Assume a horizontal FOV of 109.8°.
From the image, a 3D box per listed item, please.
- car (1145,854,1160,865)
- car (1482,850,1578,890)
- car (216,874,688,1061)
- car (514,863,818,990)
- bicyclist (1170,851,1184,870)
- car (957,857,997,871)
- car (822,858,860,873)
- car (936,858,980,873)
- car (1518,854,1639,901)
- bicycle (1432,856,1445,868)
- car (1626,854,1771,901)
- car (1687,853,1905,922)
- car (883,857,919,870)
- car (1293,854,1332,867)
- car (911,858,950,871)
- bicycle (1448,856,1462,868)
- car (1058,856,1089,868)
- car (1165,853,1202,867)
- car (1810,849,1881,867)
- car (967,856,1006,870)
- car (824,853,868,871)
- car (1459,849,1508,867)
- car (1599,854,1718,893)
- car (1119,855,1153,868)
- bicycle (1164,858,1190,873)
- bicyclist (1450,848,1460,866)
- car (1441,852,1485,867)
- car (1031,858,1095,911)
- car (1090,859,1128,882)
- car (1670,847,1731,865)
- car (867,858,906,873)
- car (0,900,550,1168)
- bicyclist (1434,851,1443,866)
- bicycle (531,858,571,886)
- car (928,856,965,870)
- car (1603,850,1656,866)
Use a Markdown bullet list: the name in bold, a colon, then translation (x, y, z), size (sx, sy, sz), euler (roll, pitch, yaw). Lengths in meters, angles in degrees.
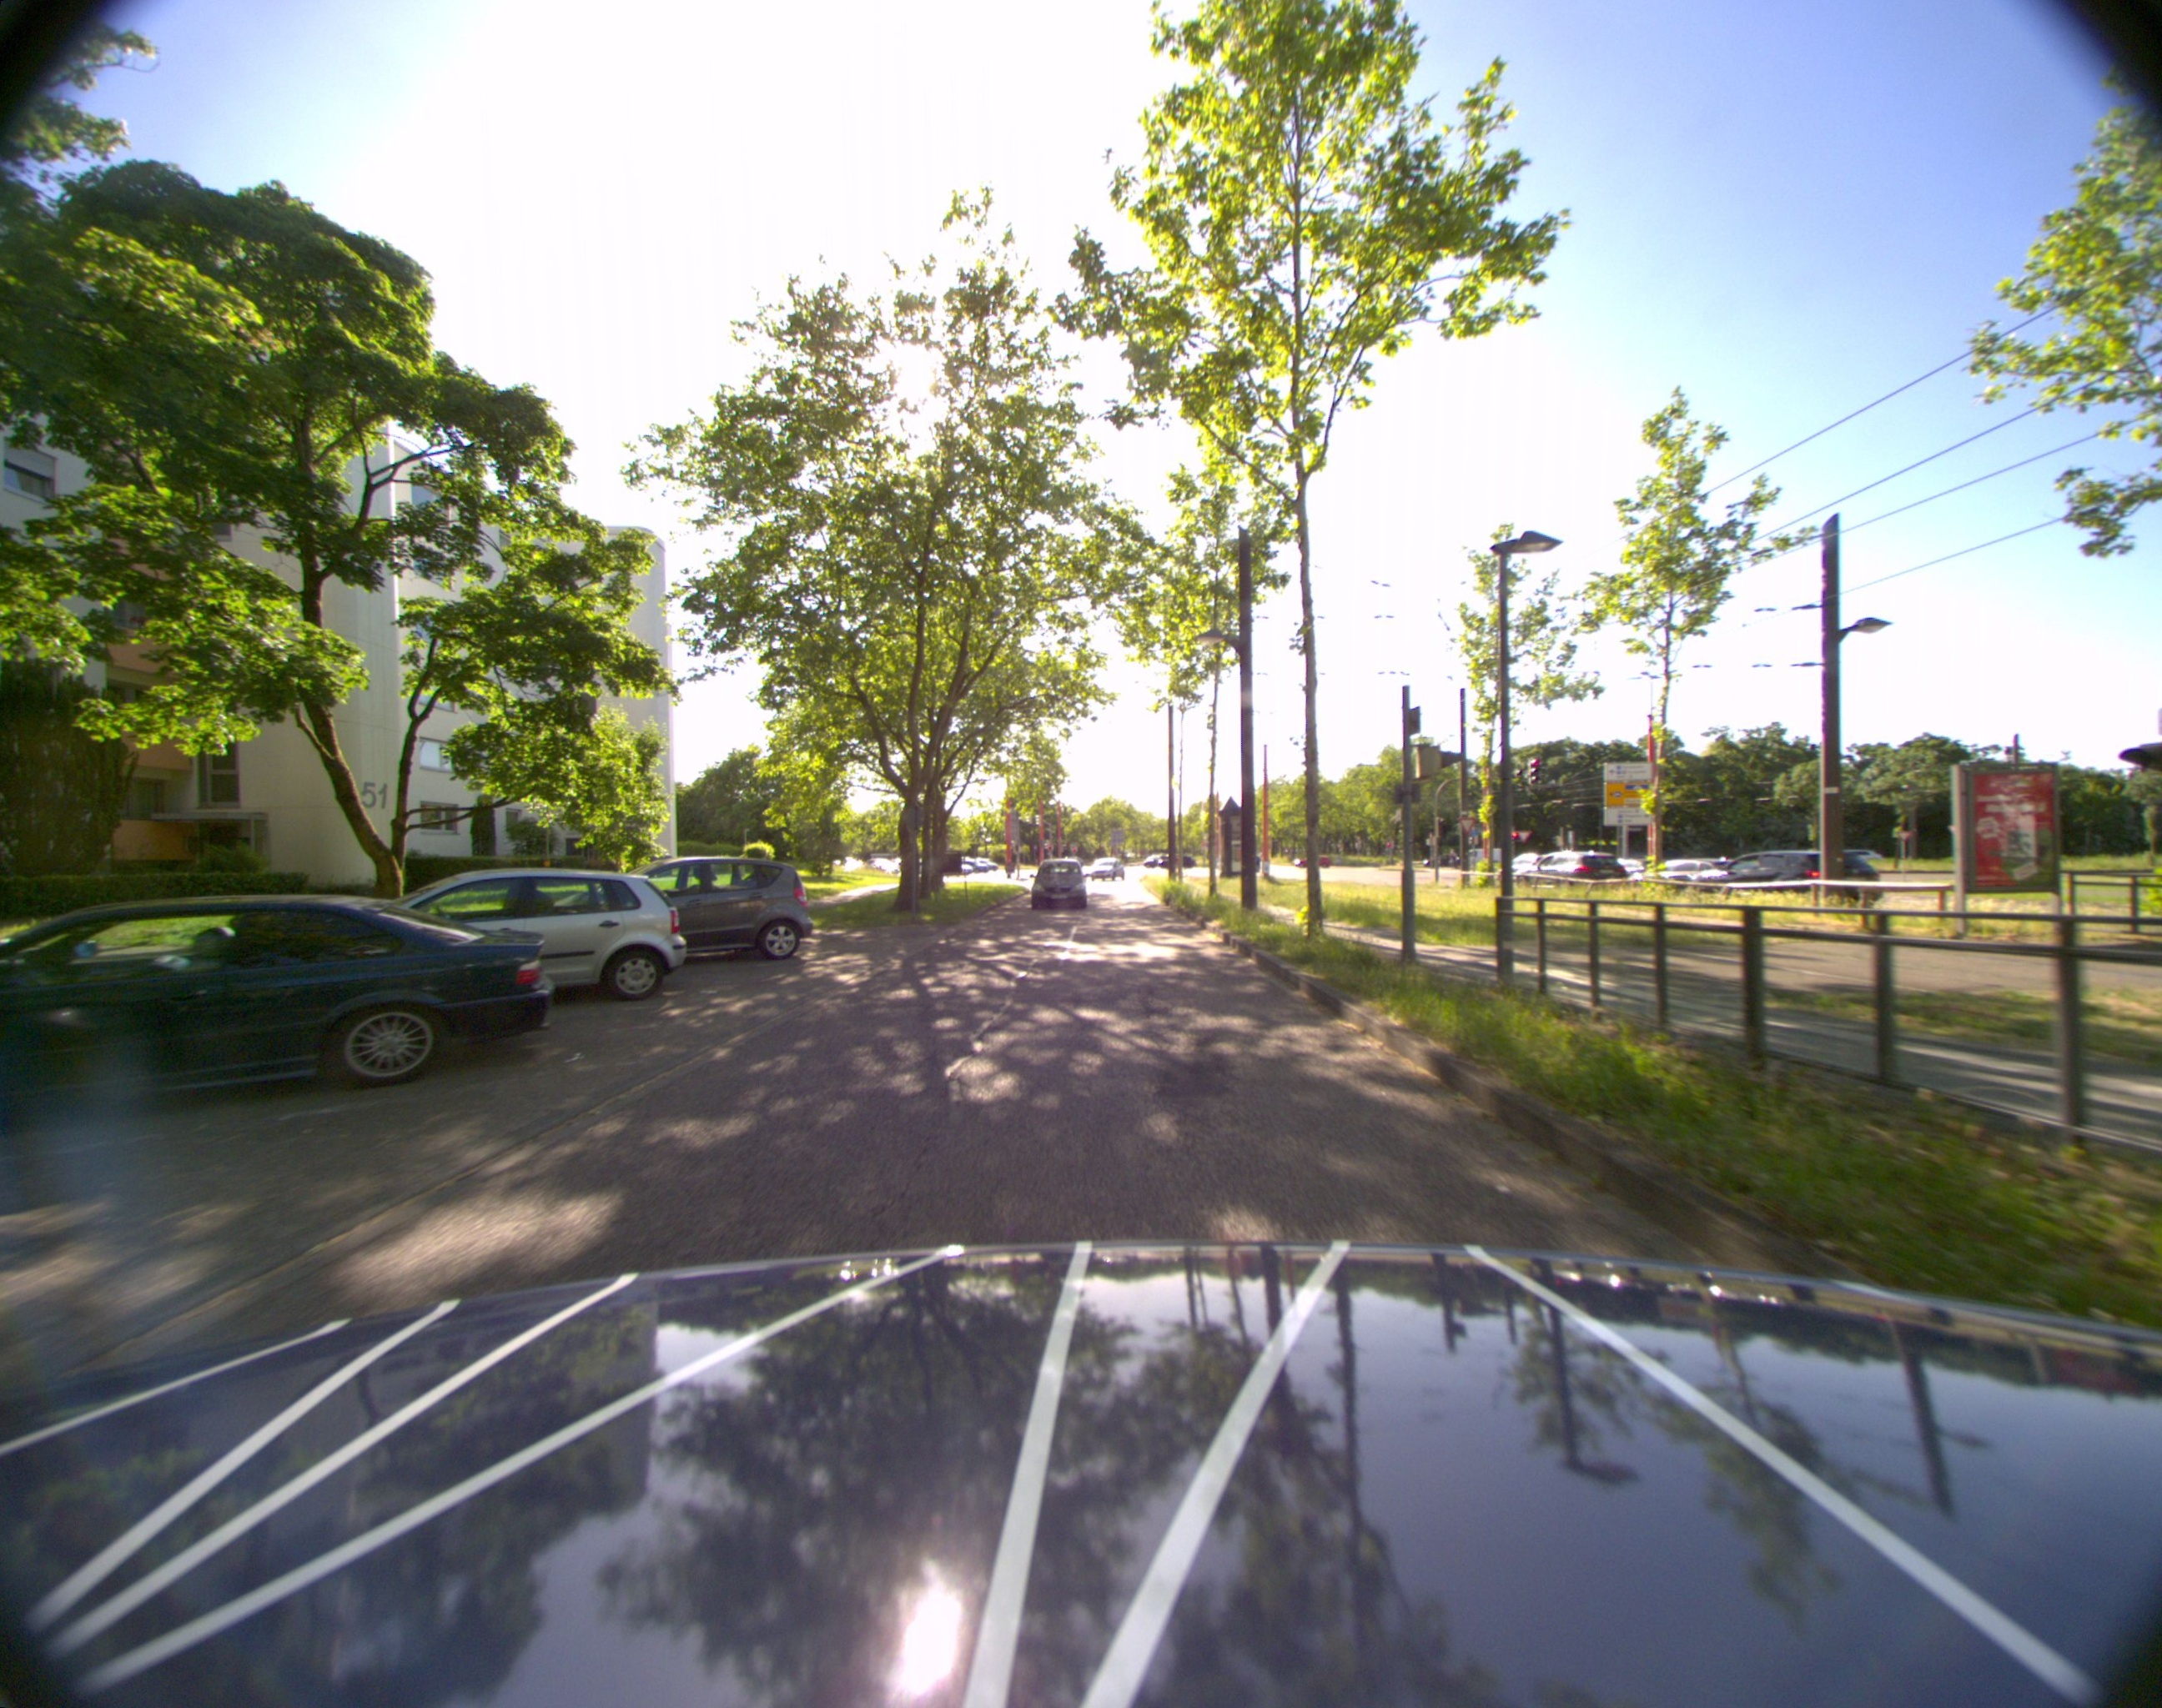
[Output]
- **car**: translation (10.452, 0.795, 110.995), size (1.797, 1.501, 4.003), euler (-1, 0, 10)
- **car**: translation (19.627, 0.680, 33.429), size (1.798, 1.607, 4.234), euler (-1, 0, 1)
- **car**: translation (-6.430, 0.997, 8.182), size (3.591, 1.483, 1.795), euler (0, 0, -41)
- **car**: translation (-6.140, 0.935, 11.431), size (3.734, 1.583, 1.795), euler (0, 0, -40)
- **bicyclist**: translation (7.531, 0.472, 59.520), size (0.955, 1.469, 0.704), euler (-1, 1, 24)
- **car**: translation (-11.318, 1.059, 82.352), size (3.989, 1.473, 1.803), euler (-1, 2, 29)
- **car**: translation (-27.276, 1.332, 86.357), size (3.989, 1.576, 1.803), euler (-1, 2, 29)
- **car**: translation (-12.770, 1.153, 78.900), size (4.274, 1.473, 1.803), euler (-1, 2, 29)
- **car**: translation (18.405, 0.803, 28.371), size (1.798, 1.607, 4.234), euler (-1, 0, 1)
- **bicycle**: translation (34.157, 0.768, 72.530), size (0.499, 1.101, 1.800), euler (-1, 0, 4)
- **car**: translation (21.797, 0.784, 27.066), size (1.798, 1.501, 4.267), euler (-1, 0, 2)
- **car**: translation (18.574, 0.789, 20.061), size (1.798, 1.598, 4.267), euler (-1, 0, 2)
- **car**: translation (-21.733, 1.126, 91.825), size (3.989, 1.473, 1.803), euler (-1, 2, 29)
- **car**: translation (26.642, 0.731, 87.447), size (3.989, 1.501, 1.803), euler (-1, 0, 28)
- **car**: translation (-16.813, 1.186, 85.023), size (3.989, 1.384, 1.803), euler (-1, 2, 29)
- **bicycle**: translation (35.560, 0.747, 72.219), size (0.562, 1.101, 1.800), euler (-1, 0, 4)
- **car**: translation (-0.973, 1.094, 101.644), size (3.776, 1.497, 1.617), euler (-1, 0, 27)
- **car**: translation (12.167, 0.763, 90.573), size (3.989, 1.645, 1.803), euler (-1, 0, 28)
- **car**: translation (66.501, 0.333, 66.200), size (3.989, 1.501, 1.803), euler (-1, 0, 27)
- **car**: translation (-10.706, 0.980, 85.917), size (3.989, 1.473, 1.803), euler (-1, 2, 29)
- **car**: translation (-28.364, 1.000, 91.674), size (5.180, 2.075, 2.096), euler (-1, 2, 29)
- **car**: translation (41.996, 0.390, 79.345), size (4.545, 1.825, 1.803), euler (-1, 0, 27)
- **car**: translation (24.501, 0.776, 32.445), size (1.799, 1.501, 4.267), euler (-1, 0, -1)
- **car**: translation (7.062, 0.947, 97.429), size (3.989, 1.645, 1.803), euler (-1, 0, 28)
- **bicycle**: translation (7.535, 0.899, 59.530), size (1.896, 1.101, 0.704), euler (-1, 1, 24)
- **bicyclist**: translation (35.555, 0.291, 72.212), size (0.562, 1.642, 0.715), euler (-1, 1, 4)
- **car**: translation (38.887, 0.577, 77.408), size (3.989, 1.501, 1.803), euler (-1, 0, 28)
- **car**: translation (-0.520, 0.953, 25.527), size (1.798, 1.580, 3.764), euler (-1, 0, 3)
- **car**: translation (2.114, 1.203, 56.285), size (1.701, 1.579, 3.910), euler (0, 0, 19)
- **car**: translation (55.358, 0.190, 67.961), size (3.989, 1.501, 1.803), euler (-1, 0, 28)
- **car**: translation (-21.238, 1.279, 83.001), size (3.989, 1.502, 1.803), euler (-1, 2, 29)
- **car**: translation (-6.172, 1.069, 5.103), size (4.155, 1.310, 1.795), euler (1, 0, -39)
- **bicyclist**: translation (34.152, 0.412, 72.525), size (0.499, 1.439, 0.778), euler (-1, 1, 4)
- **bicycle**: translation (-22.586, 0.758, 32.433), size (0.500, 1.101, 1.799), euler (4, 0, -5)
- **car**: translation (-15.717, 1.038, 88.694), size (3.989, 1.502, 1.803), euler (-1, 2, 29)
- **car**: translation (53.115, 0.392, 73.678), size (3.989, 1.501, 1.803), euler (-1, 0, 28)
